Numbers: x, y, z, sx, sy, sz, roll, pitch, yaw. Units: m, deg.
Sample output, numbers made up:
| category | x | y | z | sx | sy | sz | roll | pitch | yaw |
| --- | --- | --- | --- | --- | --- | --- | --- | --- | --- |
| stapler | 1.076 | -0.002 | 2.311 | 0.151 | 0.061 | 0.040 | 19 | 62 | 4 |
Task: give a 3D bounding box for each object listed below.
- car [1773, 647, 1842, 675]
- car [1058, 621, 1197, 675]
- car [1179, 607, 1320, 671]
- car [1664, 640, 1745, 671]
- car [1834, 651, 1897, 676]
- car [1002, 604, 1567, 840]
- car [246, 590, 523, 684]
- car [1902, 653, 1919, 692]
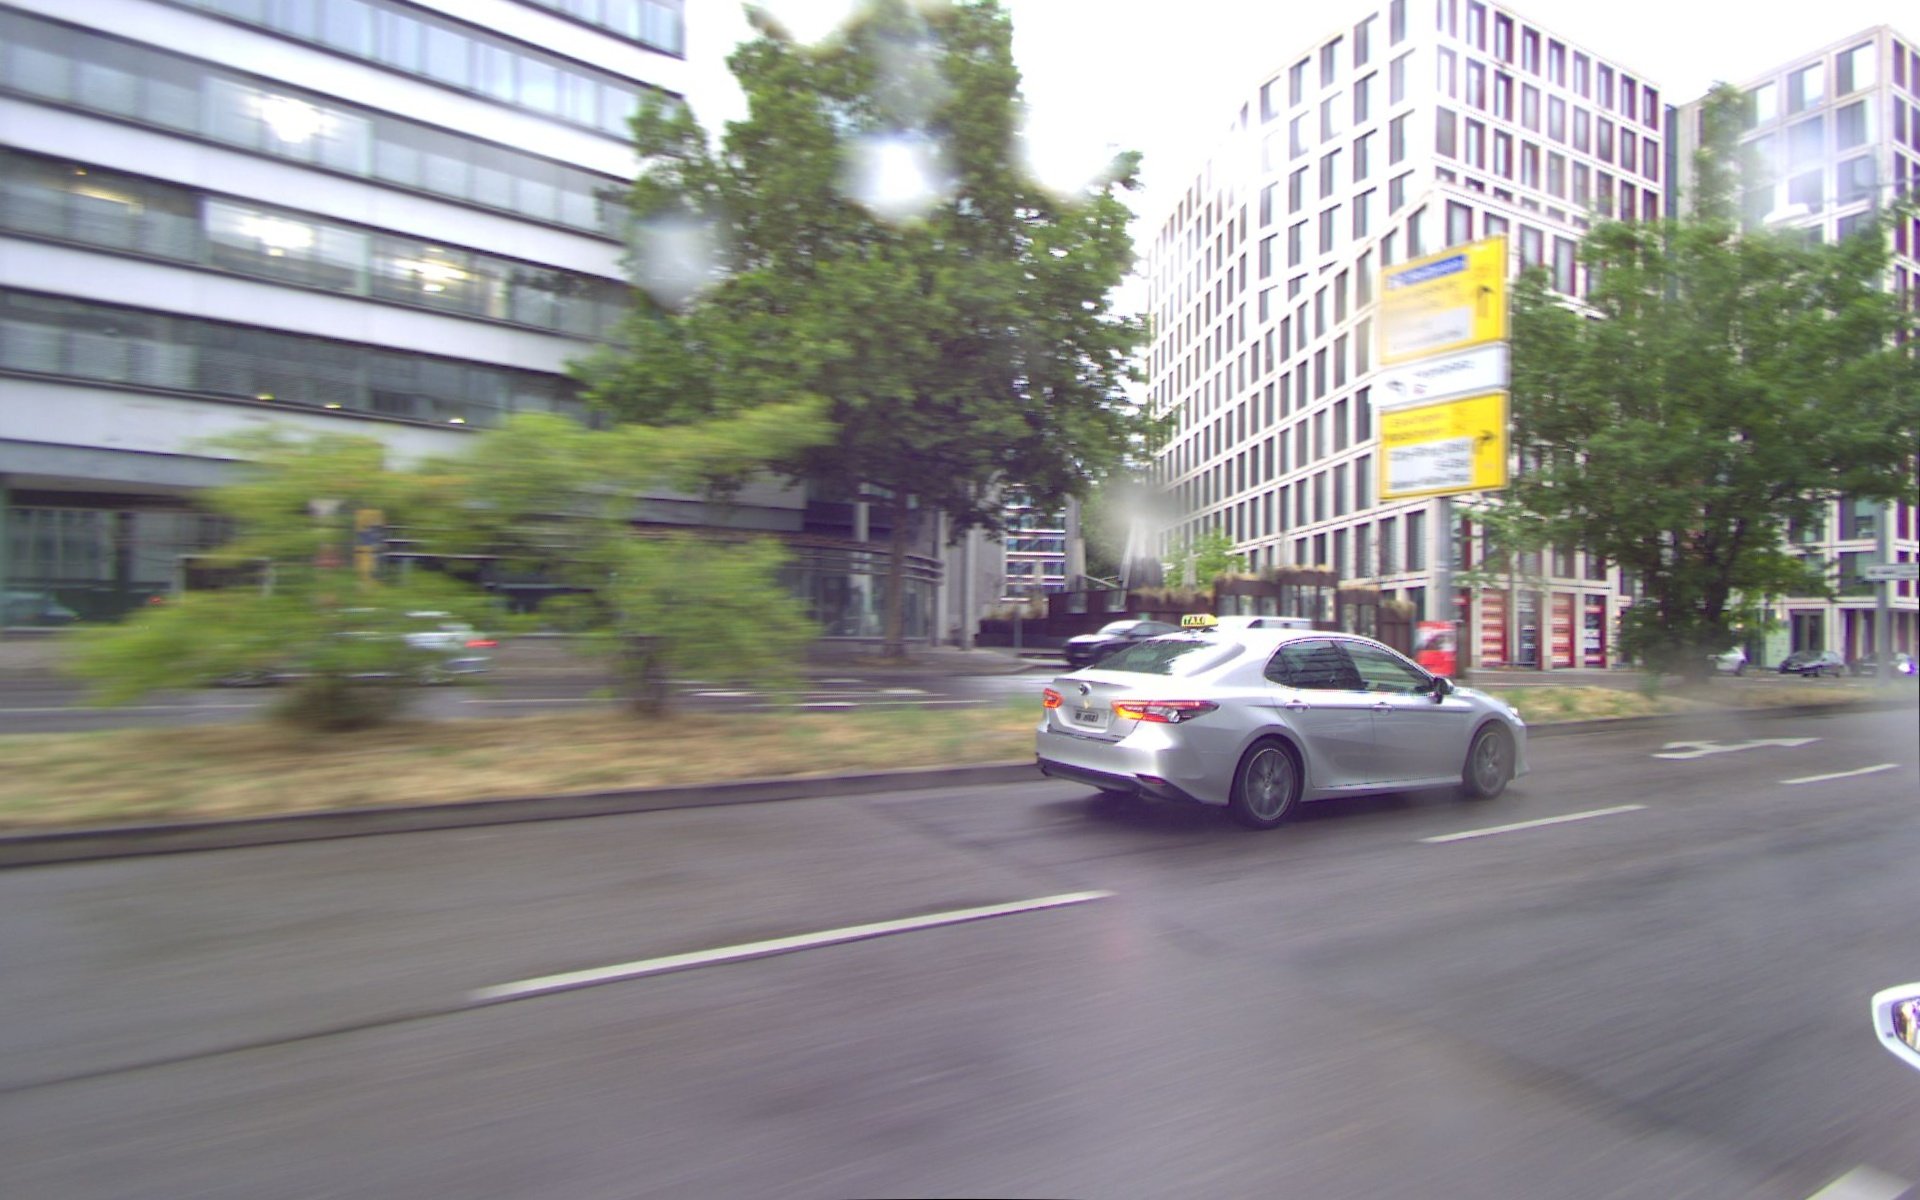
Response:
| category | x | y | z | sx | sy | sz | roll | pitch | yaw |
| --- | --- | --- | --- | --- | --- | --- | --- | --- | --- |
| car | 47.088 | 3.385 | 55.813 | 3.909 | 1.442 | 1.690 | 3 | -4 | -30 |
| car | 5.410 | 1.548 | 32.297 | 4.237 | 1.549 | 1.789 | 3 | -2 | -31 |
| car | 10.253 | 1.403 | 35.469 | 4.860 | 2.040 | 1.983 | 3 | -2 | -31 |
| car | 37.245 | 2.787 | 50.218 | 4.323 | 1.442 | 1.690 | 3 | -4 | -30 |
| car | 54.678 | 3.817 | 60.668 | 3.909 | 1.442 | 1.690 | 3 | -4 | -30 |
| car | 2.866 | 0.922 | 8.551 | 4.744 | 1.541 | 1.823 | 3 | -2 | -29 |
| car | -11.045 | 0.696 | 19.535 | 4.431 | 1.639 | 1.983 | 2 | -1 | -31 |
| car | 42.818 | 3.214 | 43.641 | 4.828 | 1.653 | 1.813 | 4 | -2 | -35 |
